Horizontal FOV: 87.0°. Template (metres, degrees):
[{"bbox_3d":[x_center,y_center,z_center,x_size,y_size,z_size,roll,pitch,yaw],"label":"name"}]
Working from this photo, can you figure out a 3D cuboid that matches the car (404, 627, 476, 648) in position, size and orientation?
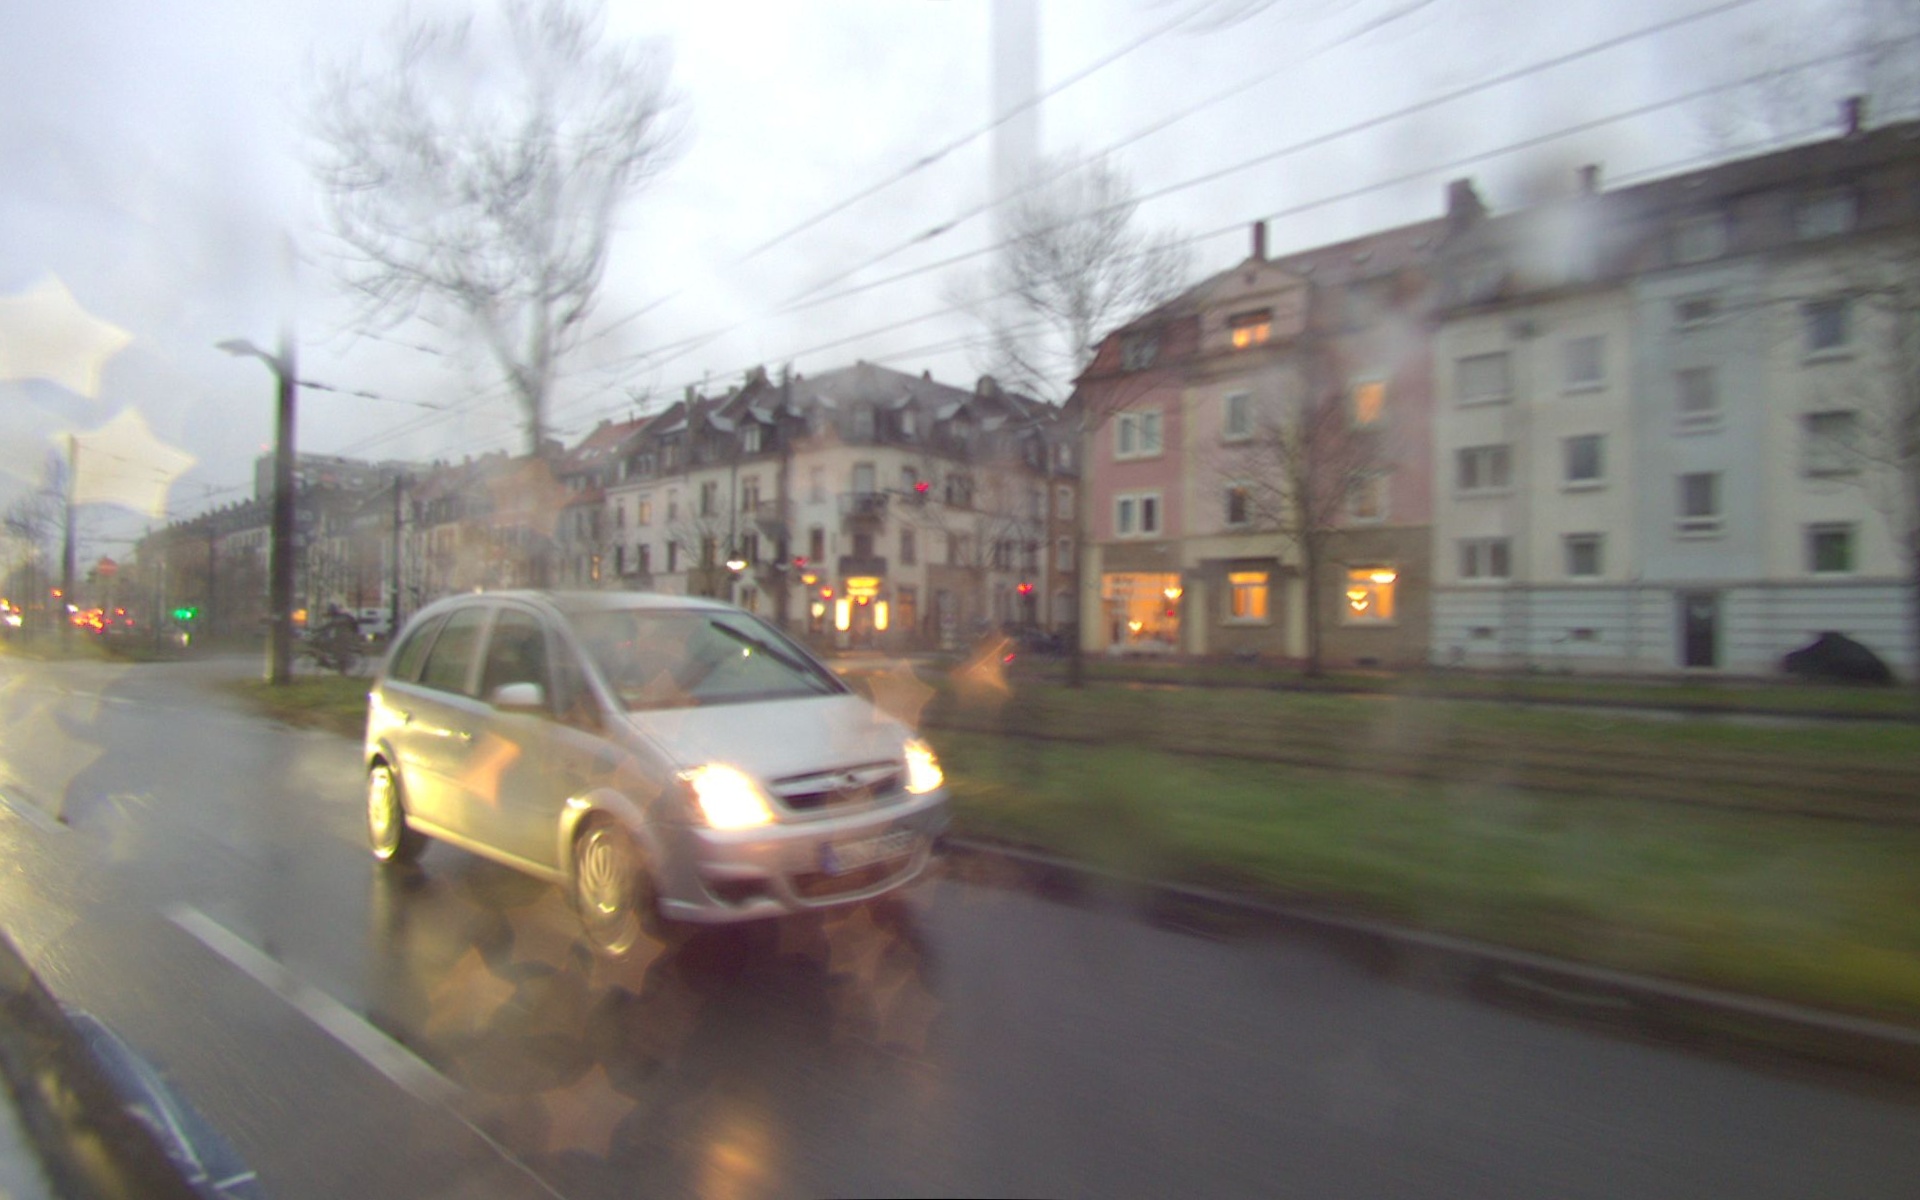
[{"bbox_3d":[-35.504,2.547,69.146,3.935,1.342,2.004,1,-2,-10],"label":"car"}]

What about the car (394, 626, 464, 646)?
[{"bbox_3d":[-37.710,2.573,71.958,3.935,1.342,2.004,1,-2,-10],"label":"car"}]

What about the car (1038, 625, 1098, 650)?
[{"bbox_3d":[6.794,2.312,63.398,1.794,1.497,3.944,-1,-2,42],"label":"car"}]

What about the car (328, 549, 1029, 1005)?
[{"bbox_3d":[-1.779,0.654,5.595,4.051,1.612,1.791,-1,-1,41],"label":"car"}]

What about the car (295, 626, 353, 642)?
[{"bbox_3d":[-56.632,3.037,90.134,3.934,1.342,2.005,1,-2,-12],"label":"car"}]

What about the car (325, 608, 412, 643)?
[{"bbox_3d":[-48.523,2.126,83.114,5.777,2.819,2.002,1,-2,-5],"label":"car"}]
